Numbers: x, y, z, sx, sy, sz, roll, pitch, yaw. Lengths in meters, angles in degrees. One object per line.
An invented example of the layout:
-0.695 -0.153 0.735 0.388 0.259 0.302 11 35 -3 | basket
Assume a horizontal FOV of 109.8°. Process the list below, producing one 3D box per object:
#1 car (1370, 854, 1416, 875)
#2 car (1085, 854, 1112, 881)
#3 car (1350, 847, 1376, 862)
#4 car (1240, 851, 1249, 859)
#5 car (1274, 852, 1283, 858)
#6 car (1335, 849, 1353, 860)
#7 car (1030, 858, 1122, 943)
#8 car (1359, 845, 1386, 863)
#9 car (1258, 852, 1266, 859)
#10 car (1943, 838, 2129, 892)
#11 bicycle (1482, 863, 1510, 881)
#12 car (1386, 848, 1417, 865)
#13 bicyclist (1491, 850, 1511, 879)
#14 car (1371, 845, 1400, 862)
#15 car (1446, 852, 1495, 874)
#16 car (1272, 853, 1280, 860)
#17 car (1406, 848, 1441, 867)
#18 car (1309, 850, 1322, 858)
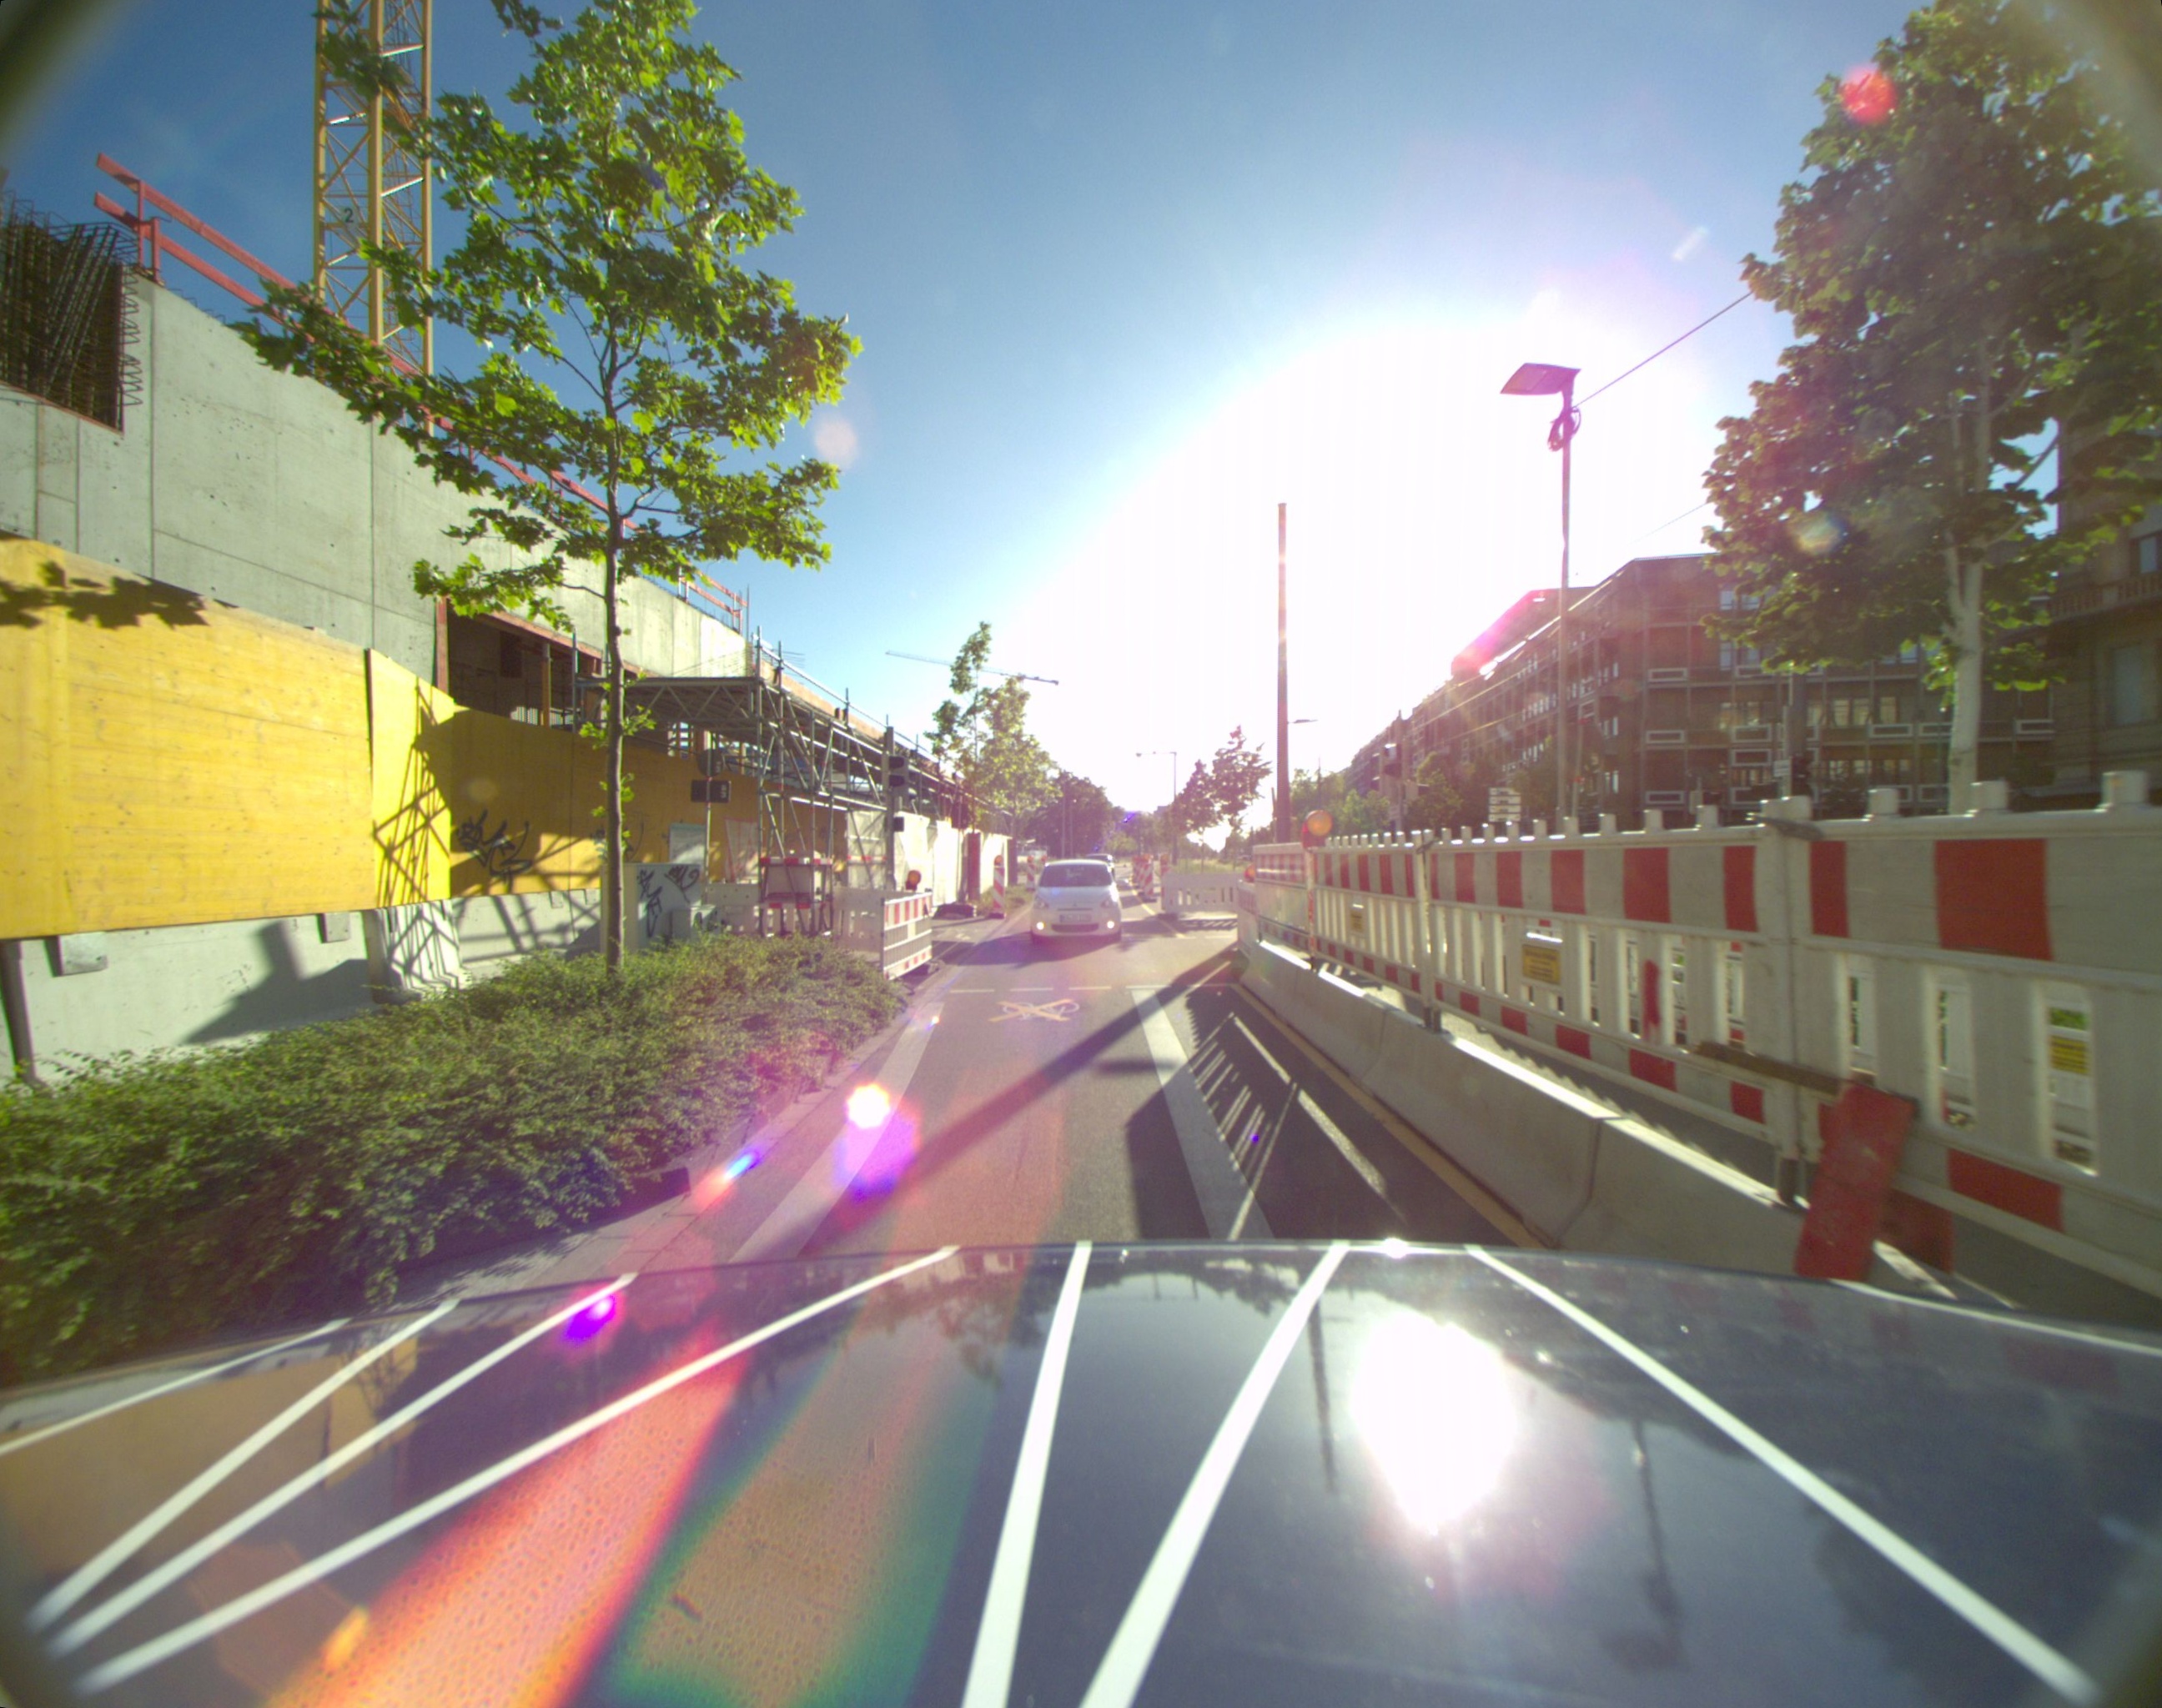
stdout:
23.122 0.760 56.500 1.857 1.412 4.070 -2 0 2 | car
0.971 0.726 43.330 1.458 1.472 3.527 0 0 1 | car
31.133 0.060 84.015 1.732 1.460 4.507 -2 0 8 | car
38.774 0.176 180.006 1.731 1.736 4.123 -1 0 7 | car
44.968 0.200 172.891 1.719 1.379 4.042 0 0 10 | car
34.093 0.002 98.581 1.718 1.379 4.043 -1 0 13 | car
-0.008 0.864 15.672 1.614 1.488 3.395 -3 0 3 | car
30.070 0.015 78.494 1.754 1.761 4.334 -1 0 9 | car
43.621 0.337 182.946 1.630 1.487 3.782 0 0 9 | car
34.323 0.380 27.385 4.522 1.892 1.898 0 0 -3 | car
24.346 1.061 44.601 0.696 0.972 1.827 -1 0 2 | bicycle
28.733 0.247 68.254 1.627 1.433 3.821 -2 0 9 | car
24.546 0.617 44.456 0.696 1.648 0.882 -1 1 2 | bicyclist
29.474 -0.023 73.737 1.741 1.527 3.887 -1 0 9 | car
27.463 0.614 53.698 1.734 1.453 3.901 -2 0 5 | car
46.825 0.595 182.465 1.630 1.487 4.420 0 0 10 | car
28.487 0.279 63.248 1.652 1.545 3.969 -1 0 9 | car
44.992 0.045 145.922 1.725 1.535 3.633 -2 0 8 | car
